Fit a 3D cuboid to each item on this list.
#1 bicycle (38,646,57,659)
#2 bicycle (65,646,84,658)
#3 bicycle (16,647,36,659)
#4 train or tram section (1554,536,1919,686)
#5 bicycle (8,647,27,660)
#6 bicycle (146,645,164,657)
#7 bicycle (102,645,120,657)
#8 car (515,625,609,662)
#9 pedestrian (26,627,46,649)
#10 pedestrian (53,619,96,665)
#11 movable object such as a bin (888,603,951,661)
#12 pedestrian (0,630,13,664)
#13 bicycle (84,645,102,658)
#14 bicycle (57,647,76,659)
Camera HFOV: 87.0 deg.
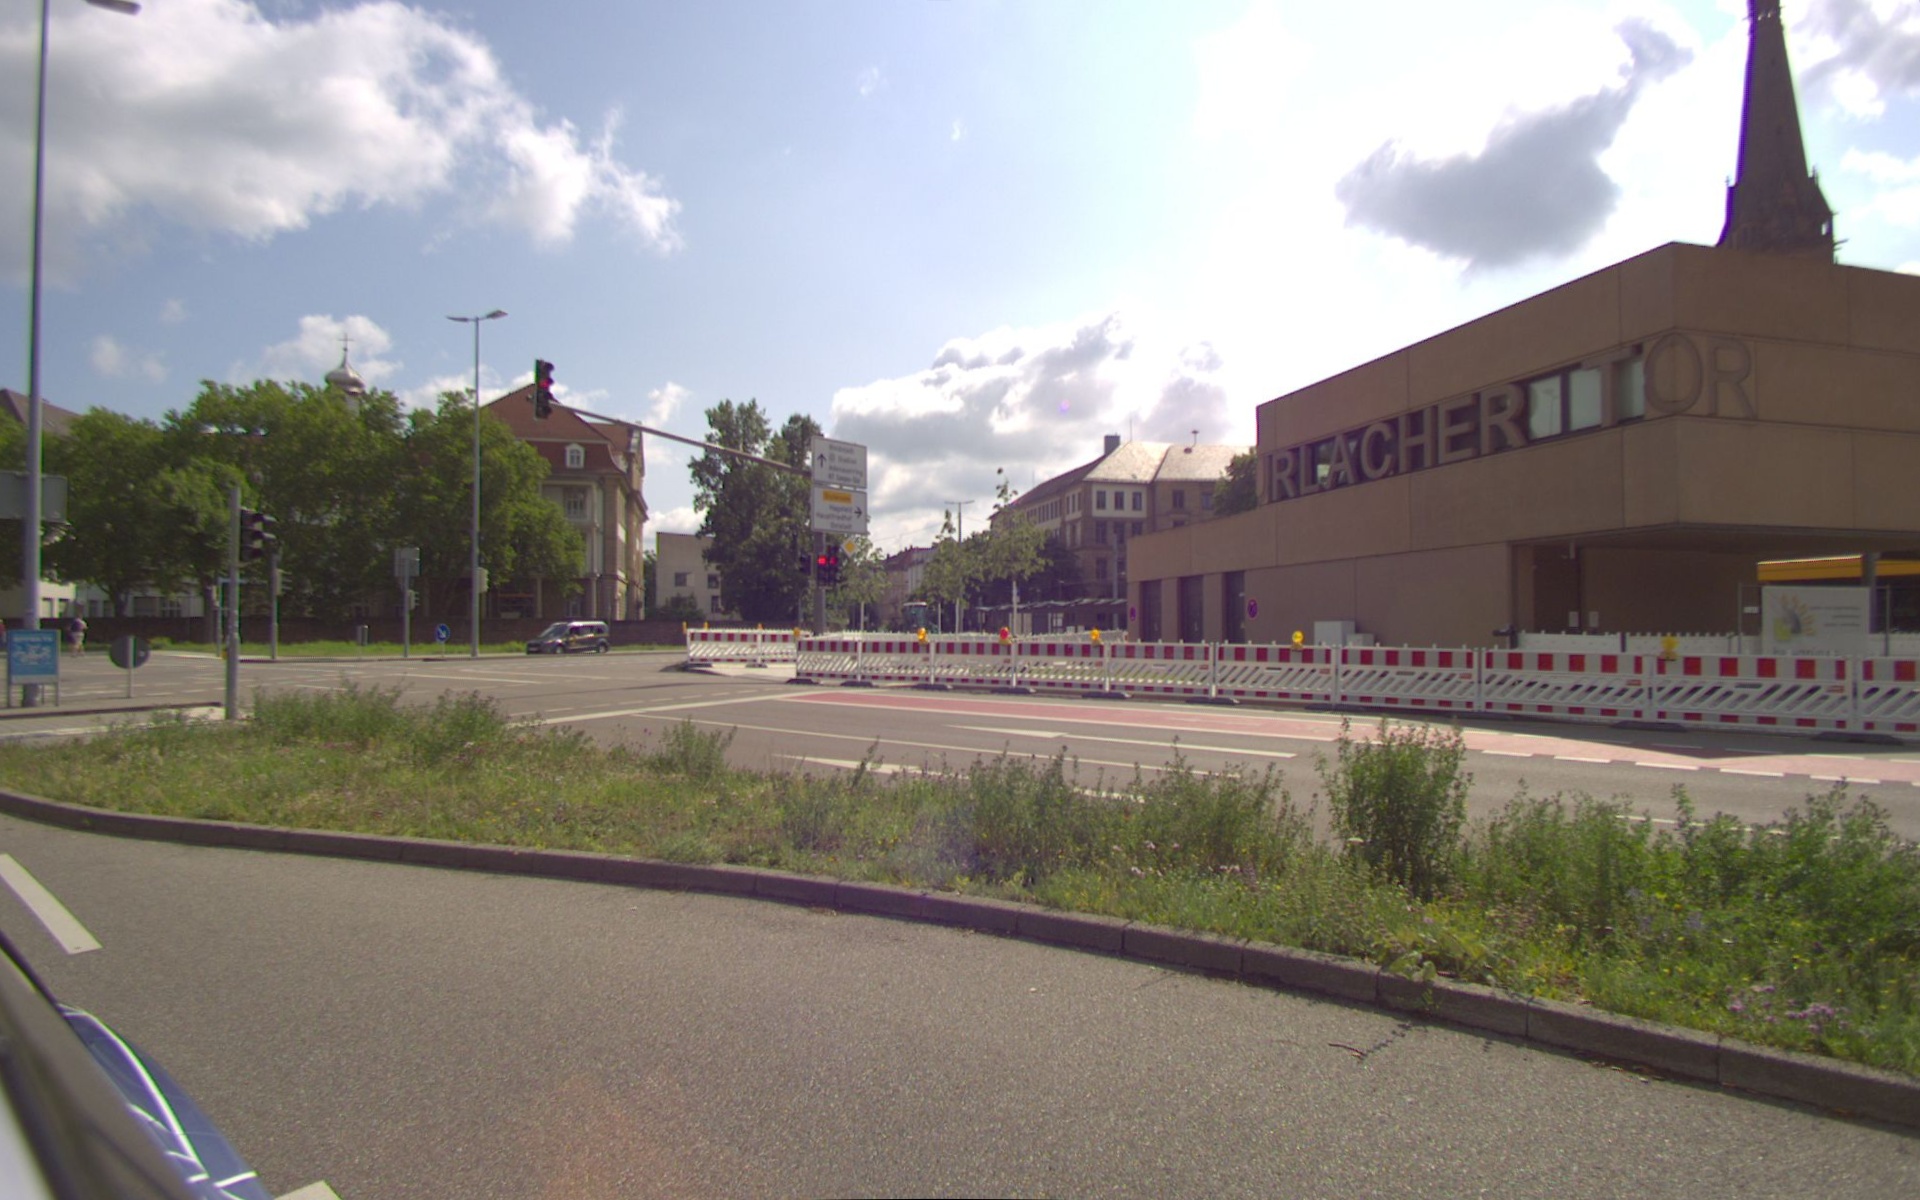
[{"bbox_3d":[-64.873,3.723,71.932,0.476,0.855,0.973,0,-3,-1],"label":"bicycle"},{"bbox_3d":[-62.985,3.717,71.966,0.476,0.855,0.973,0,-3,-1],"label":"bicycle"},{"bbox_3d":[-66.412,3.784,71.949,0.476,0.855,0.973,0,-3,-1],"label":"bicycle"},{"bbox_3d":[23.054,0.397,28.649,2.586,3.591,12.447,0,-2,-15],"label":"train or tram section"},{"bbox_3d":[-66.981,3.805,71.916,0.476,0.855,0.973,0,-3,-1],"label":"bicycle"},{"bbox_3d":[-57.229,3.615,71.954,0.476,0.855,0.973,0,-3,-1],"label":"bicycle"},{"bbox_3d":[-60.390,3.614,72.012,0.476,0.855,0.973,0,-3,-1],"label":"bicycle"},{"bbox_3d":[-20.416,2.255,52.094,1.842,1.799,4.636,-3,-3,22],"label":"car"},{"bbox_3d":[-65.087,2.698,71.304,0.714,1.545,0.726,0,-2,1],"label":"pedestrian"},{"bbox_3d":[-37.245,1.771,42.584,0.691,1.871,1.177,-2,-2,10],"label":"pedestrian"},{"bbox_3d":[-2.246,1.764,54.839,1.965,2.972,4.465,1,-3,-23],"label":"movable object such as a bin"},{"bbox_3d":[-52.355,2.557,55.085,0.956,1.793,0.746,-1,-2,13],"label":"pedestrian"},{"bbox_3d":[-61.674,3.665,72.010,0.476,0.855,0.973,0,-3,-1],"label":"bicycle"},{"bbox_3d":[-63.531,3.737,71.942,0.476,0.855,0.973,0,-3,-1],"label":"bicycle"}]
